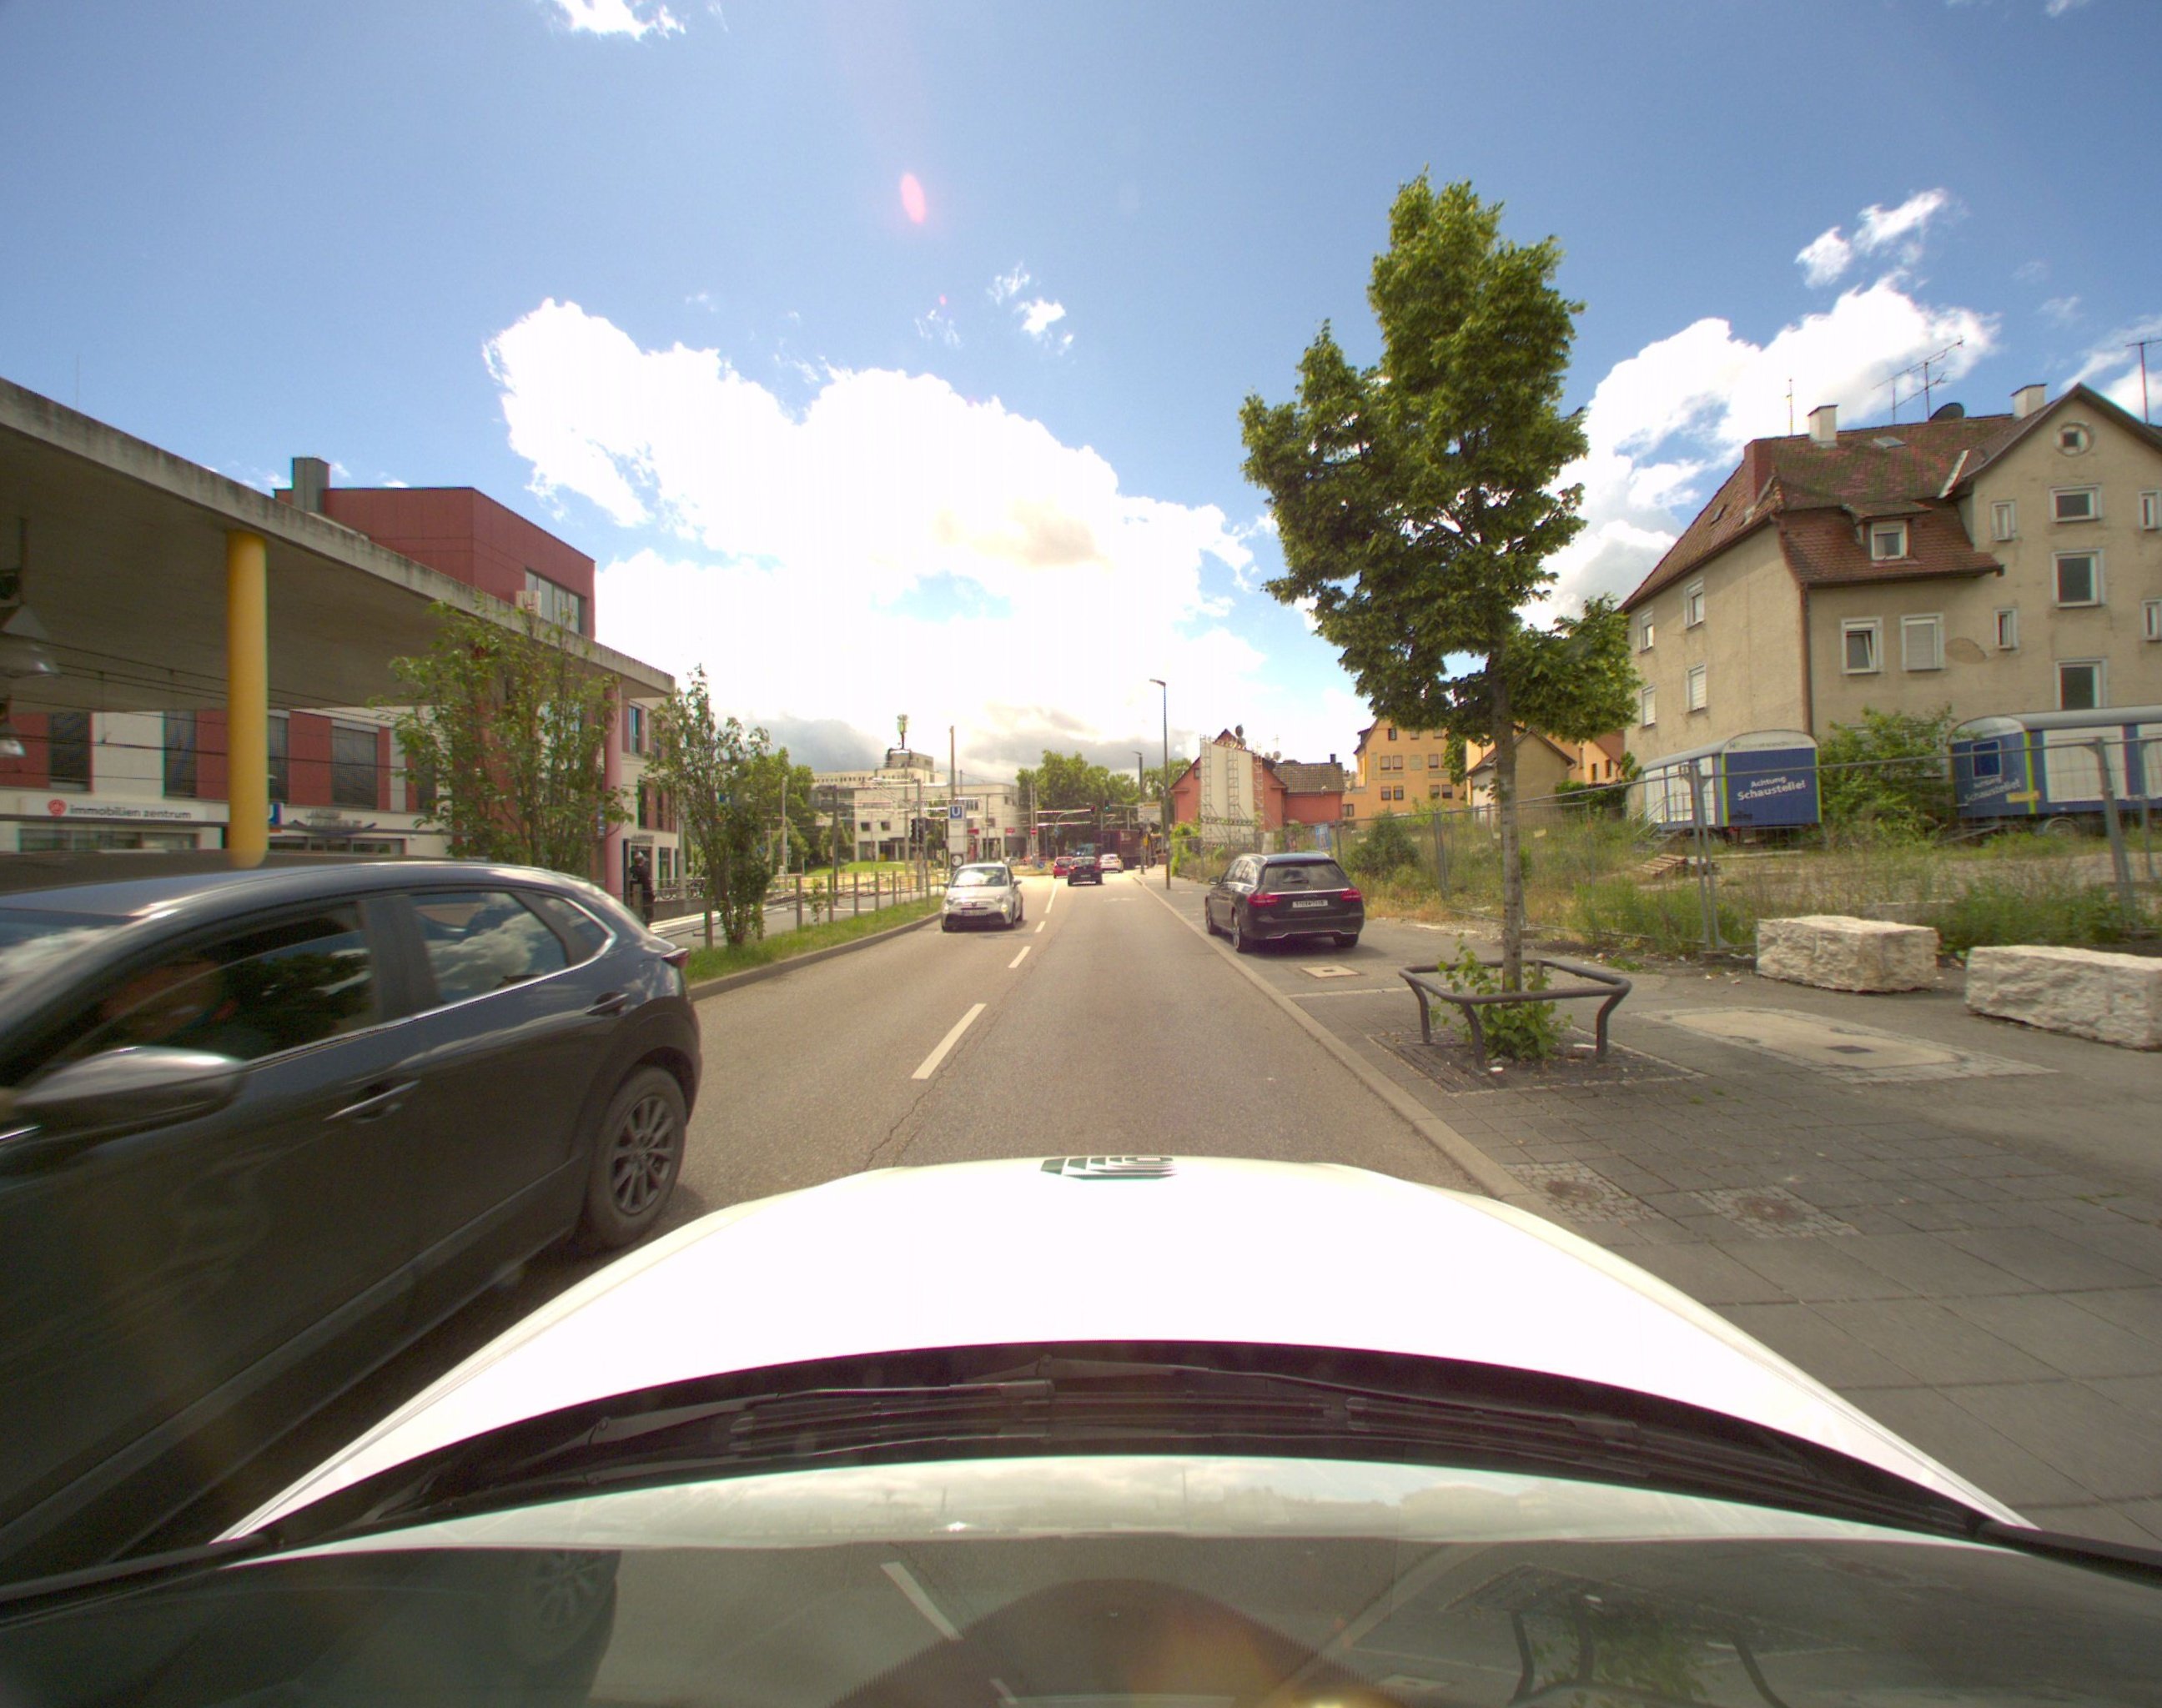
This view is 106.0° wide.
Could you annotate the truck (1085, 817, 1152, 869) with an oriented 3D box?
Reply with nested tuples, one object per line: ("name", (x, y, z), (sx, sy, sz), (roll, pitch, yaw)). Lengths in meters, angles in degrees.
("truck", (3.688, -0.898, 76.803), (3.174, 4.536, 9.079), (-1, -2, 24))

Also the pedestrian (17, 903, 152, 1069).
("pedestrian", (-10.286, 1.320, 8.443), (0.678, 1.527, 0.761), (0, 3, 44))

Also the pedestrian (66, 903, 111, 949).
("pedestrian", (-22.101, 1.595, 18.139), (0.362, 0.990, 0.492), (0, -2, 4))

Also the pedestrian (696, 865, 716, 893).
("pedestrian", (-21.931, 1.461, 47.637), (0.853, 1.572, 0.856), (1, -2, -15))

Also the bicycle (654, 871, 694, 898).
("bicycle", (-18.486, 1.380, 36.996), (1.561, 1.100, 0.408), (-3, -2, -1))

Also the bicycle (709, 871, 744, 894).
("bicycle", (-18.330, 1.462, 42.100), (1.561, 1.100, 0.514), (-3, -2, -1))

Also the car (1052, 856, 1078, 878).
("car", (-1.109, 0.887, 56.430), (1.707, 1.393, 3.806), (-2, 0, -2))

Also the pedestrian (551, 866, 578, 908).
("pedestrian", (-23.117, 1.482, 36.479), (0.653, 1.851, 0.740), (0, -2, 2))

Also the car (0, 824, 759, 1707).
("car", (-2.585, 0.701, 2.056), (1.718, 1.521, 4.256), (1, 0, 1))

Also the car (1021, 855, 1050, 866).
("car", (-6.968, 0.990, 124.457), (1.974, 1.600, 4.226), (-1, 1, 40))

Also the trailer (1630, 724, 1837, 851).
("trailer", (18.813, -1.724, 23.994), (2.386, 3.122, 6.186), (-3, 0, 15))

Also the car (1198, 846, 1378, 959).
("car", (3.147, 0.656, 13.348), (1.776, 1.451, 4.476), (-3, 0, 0))

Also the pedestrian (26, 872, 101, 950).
("pedestrian", (-22.742, 1.258, 18.212), (0.681, 1.685, 0.724), (0, -2, 4))

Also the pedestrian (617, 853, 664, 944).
("pedestrian", (-9.196, 0.904, 17.036), (0.736, 1.845, 0.779), (0, 1, -20))

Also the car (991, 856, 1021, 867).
("car", (-10.993, 1.114, 119.369), (1.974, 1.464, 4.025), (-1, 0, 41))

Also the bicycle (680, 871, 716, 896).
("bicycle", (-18.407, 1.433, 39.115), (1.503, 1.100, 0.408), (-3, -2, -1))

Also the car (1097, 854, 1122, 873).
("car", (2.319, 0.780, 65.988), (1.880, 1.465, 4.072), (-2, -1, 3))

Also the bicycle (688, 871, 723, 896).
("bicycle", (-18.389, 1.447, 39.870), (1.503, 1.100, 0.408), (-3, -2, -1))

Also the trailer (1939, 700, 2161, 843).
("trailer", (25.369, -1.985, 19.622), (6.100, 3.122, 2.420), (-3, 0, 11))

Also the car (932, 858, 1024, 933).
("car", (-2.357, 0.905, 19.541), (1.766, 1.508, 3.997), (-2, 0, -2))

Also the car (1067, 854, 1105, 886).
("car", (0.196, 0.770, 41.219), (1.722, 1.456, 3.805), (-2, 0, -2))

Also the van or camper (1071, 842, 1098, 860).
("van or camper", (0.695, -0.438, 137.246), (2.155, 2.805, 6.103), (-1, -2, 25))
